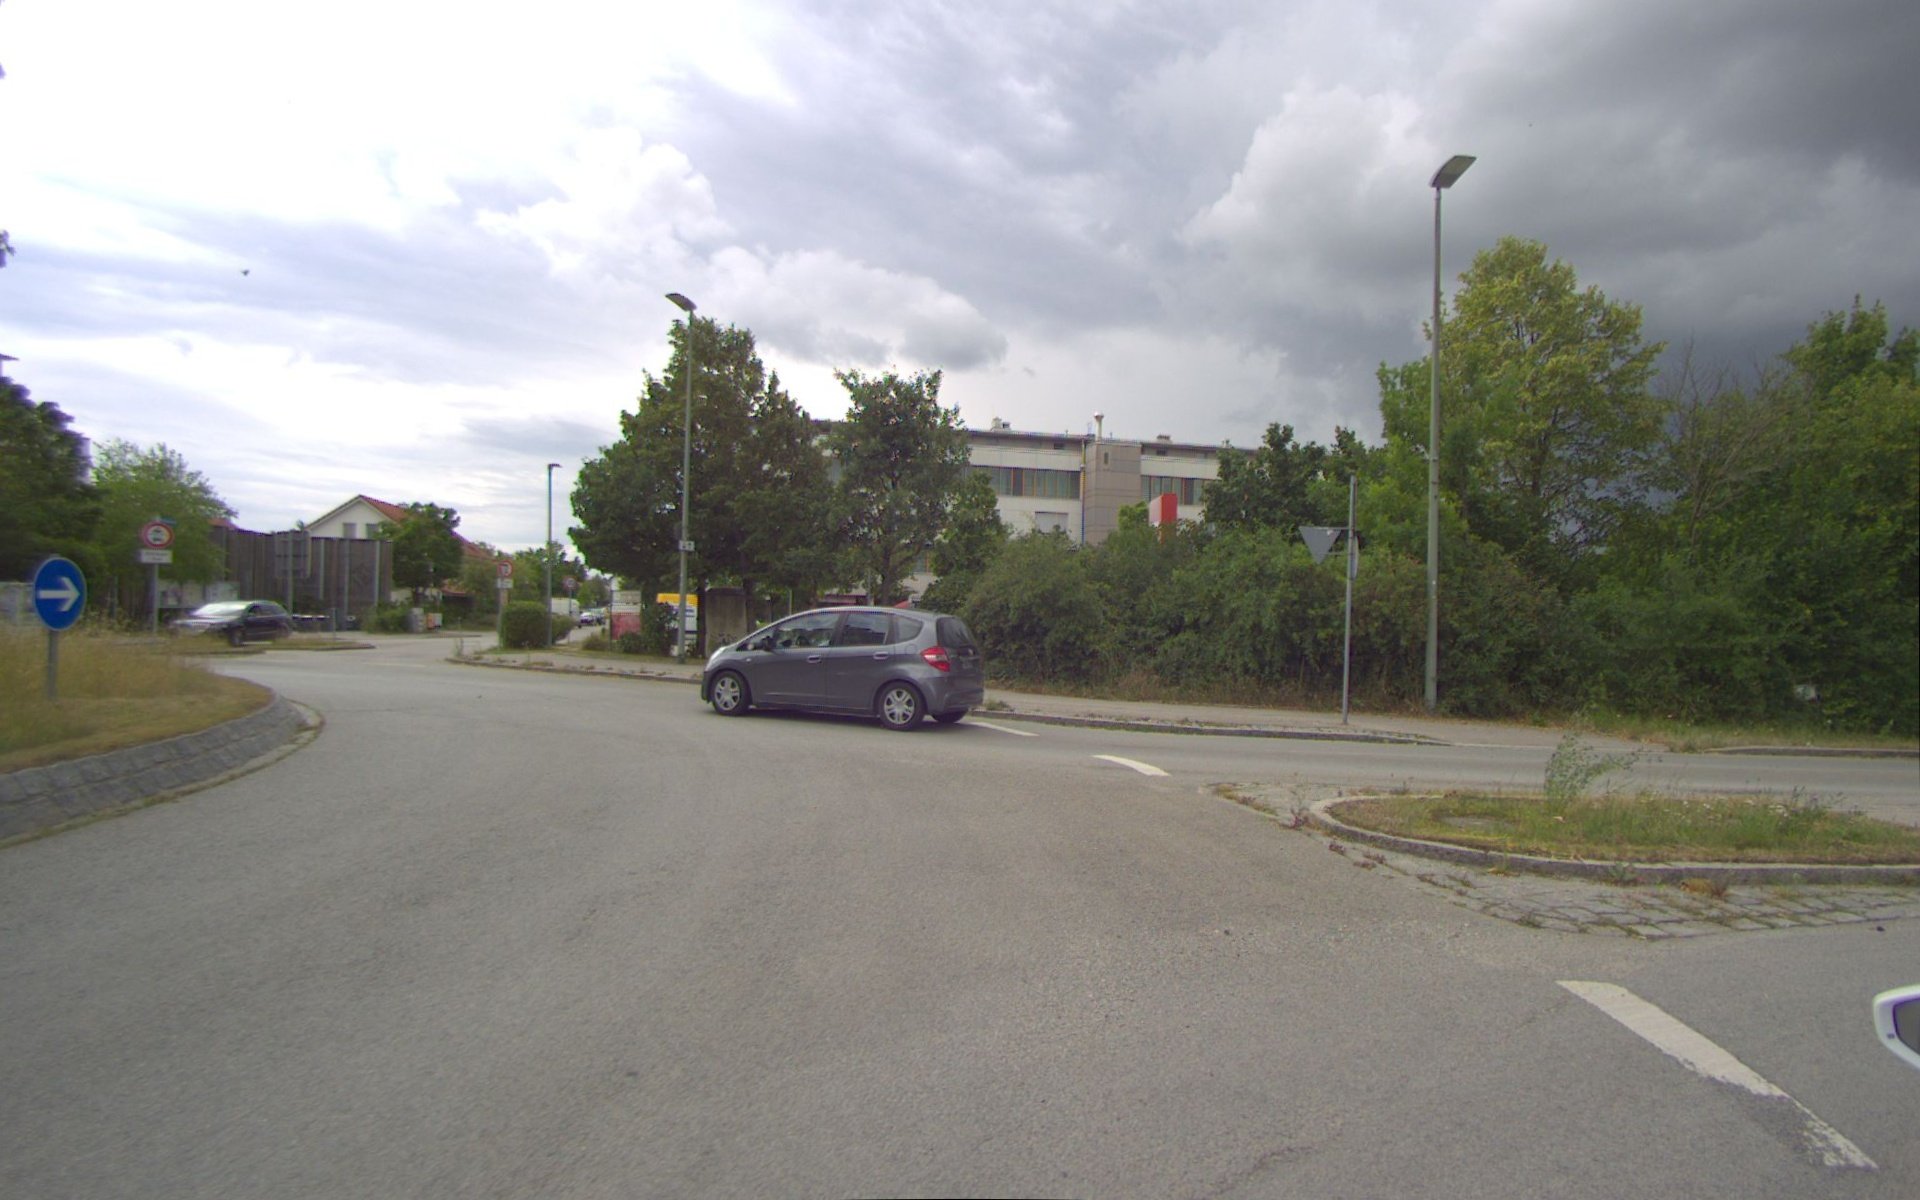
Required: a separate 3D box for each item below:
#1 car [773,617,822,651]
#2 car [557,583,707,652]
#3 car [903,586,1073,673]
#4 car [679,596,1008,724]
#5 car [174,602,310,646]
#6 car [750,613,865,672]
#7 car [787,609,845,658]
[{"bbox_3d":[-7.299,1.571,45.406,1.912,1.415,4.510,-2,-2,-6],"label":"car"},{"bbox_3d":[-9.469,0.485,28.958,3.933,1.856,2.125,1,-1,34],"label":"car"},{"bbox_3d":[0.741,0.730,25.722,3.920,2.040,2.001,1,-1,18],"label":"car"},{"bbox_3d":[-1.494,0.730,13.163,3.920,1.441,1.688,1,-2,19],"label":"car"},{"bbox_3d":[-23.582,0.771,33.215,1.529,1.307,4.822,2,-1,-8],"label":"car"},{"bbox_3d":[-3.655,1.005,24.820,1.707,1.288,4.003,1,-1,8],"label":"car"},{"bbox_3d":[-5.573,1.249,39.135,1.750,1.706,3.728,-2,1,-1],"label":"car"}]
